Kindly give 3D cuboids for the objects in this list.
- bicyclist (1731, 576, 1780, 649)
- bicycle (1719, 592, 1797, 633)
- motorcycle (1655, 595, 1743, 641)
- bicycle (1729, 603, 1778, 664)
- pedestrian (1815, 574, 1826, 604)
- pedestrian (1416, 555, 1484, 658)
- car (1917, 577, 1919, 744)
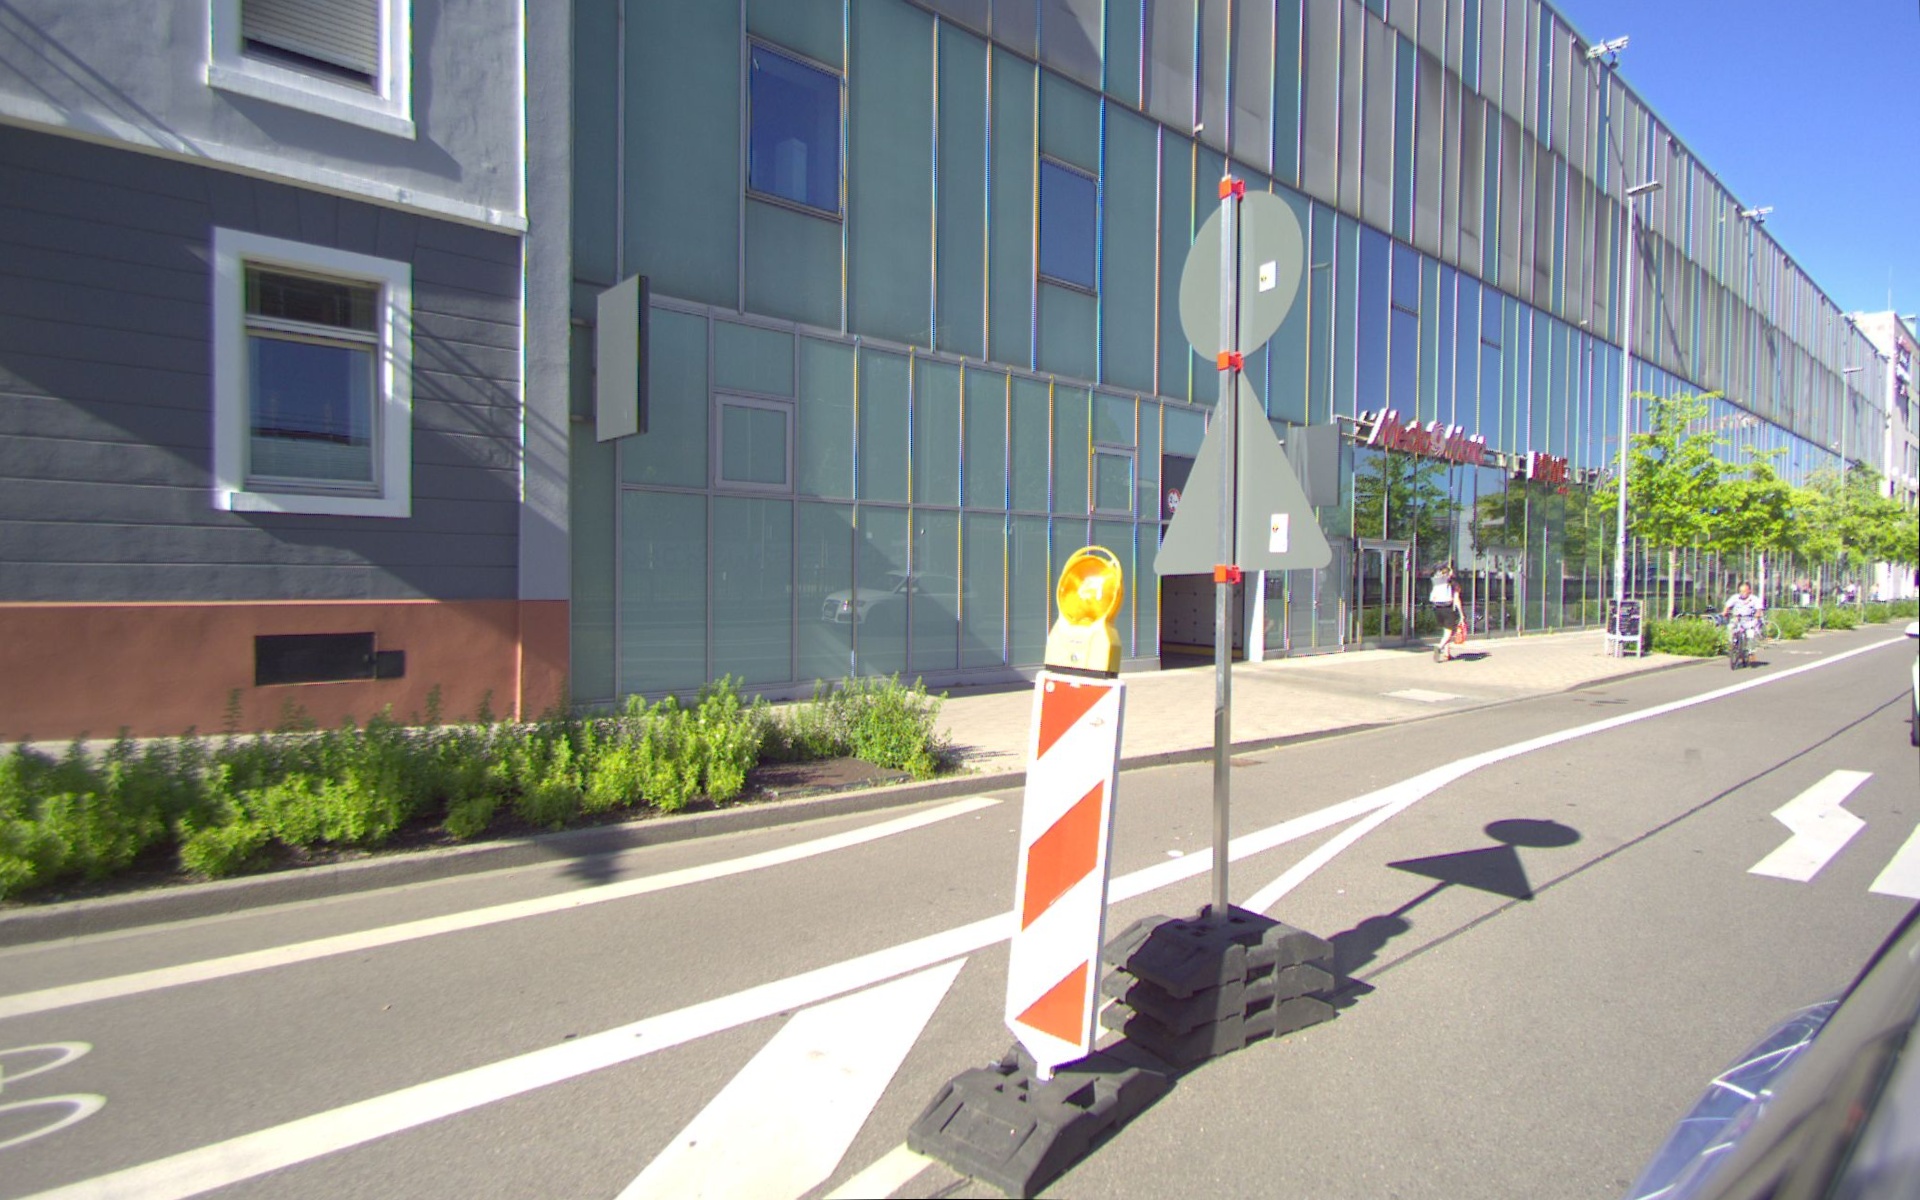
[{"bbox_3d":[16.699,0.246,21.256,0.753,1.480,0.578,0,1,45],"label":"bicyclist"},{"bbox_3d":[23.532,0.352,29.883,1.729,1.075,0.462,4,3,35],"label":"bicycle"},{"bbox_3d":[19.899,0.458,27.301,0.630,1.095,1.886,0,3,-17],"label":"motorcycle"},{"bbox_3d":[16.711,0.687,21.294,0.608,1.165,1.956,1,2,44],"label":"bicycle"},{"bbox_3d":[49.691,-0.623,58.427,0.339,1.712,0.450,0,1,-41],"label":"pedestrian"},{"bbox_3d":[9.743,0.098,20.136,0.880,1.946,0.877,-3,6,-41],"label":"pedestrian"},{"bbox_3d":[11.585,0.574,10.695,3.933,1.654,1.931,-1,1,-43],"label":"car"}]
